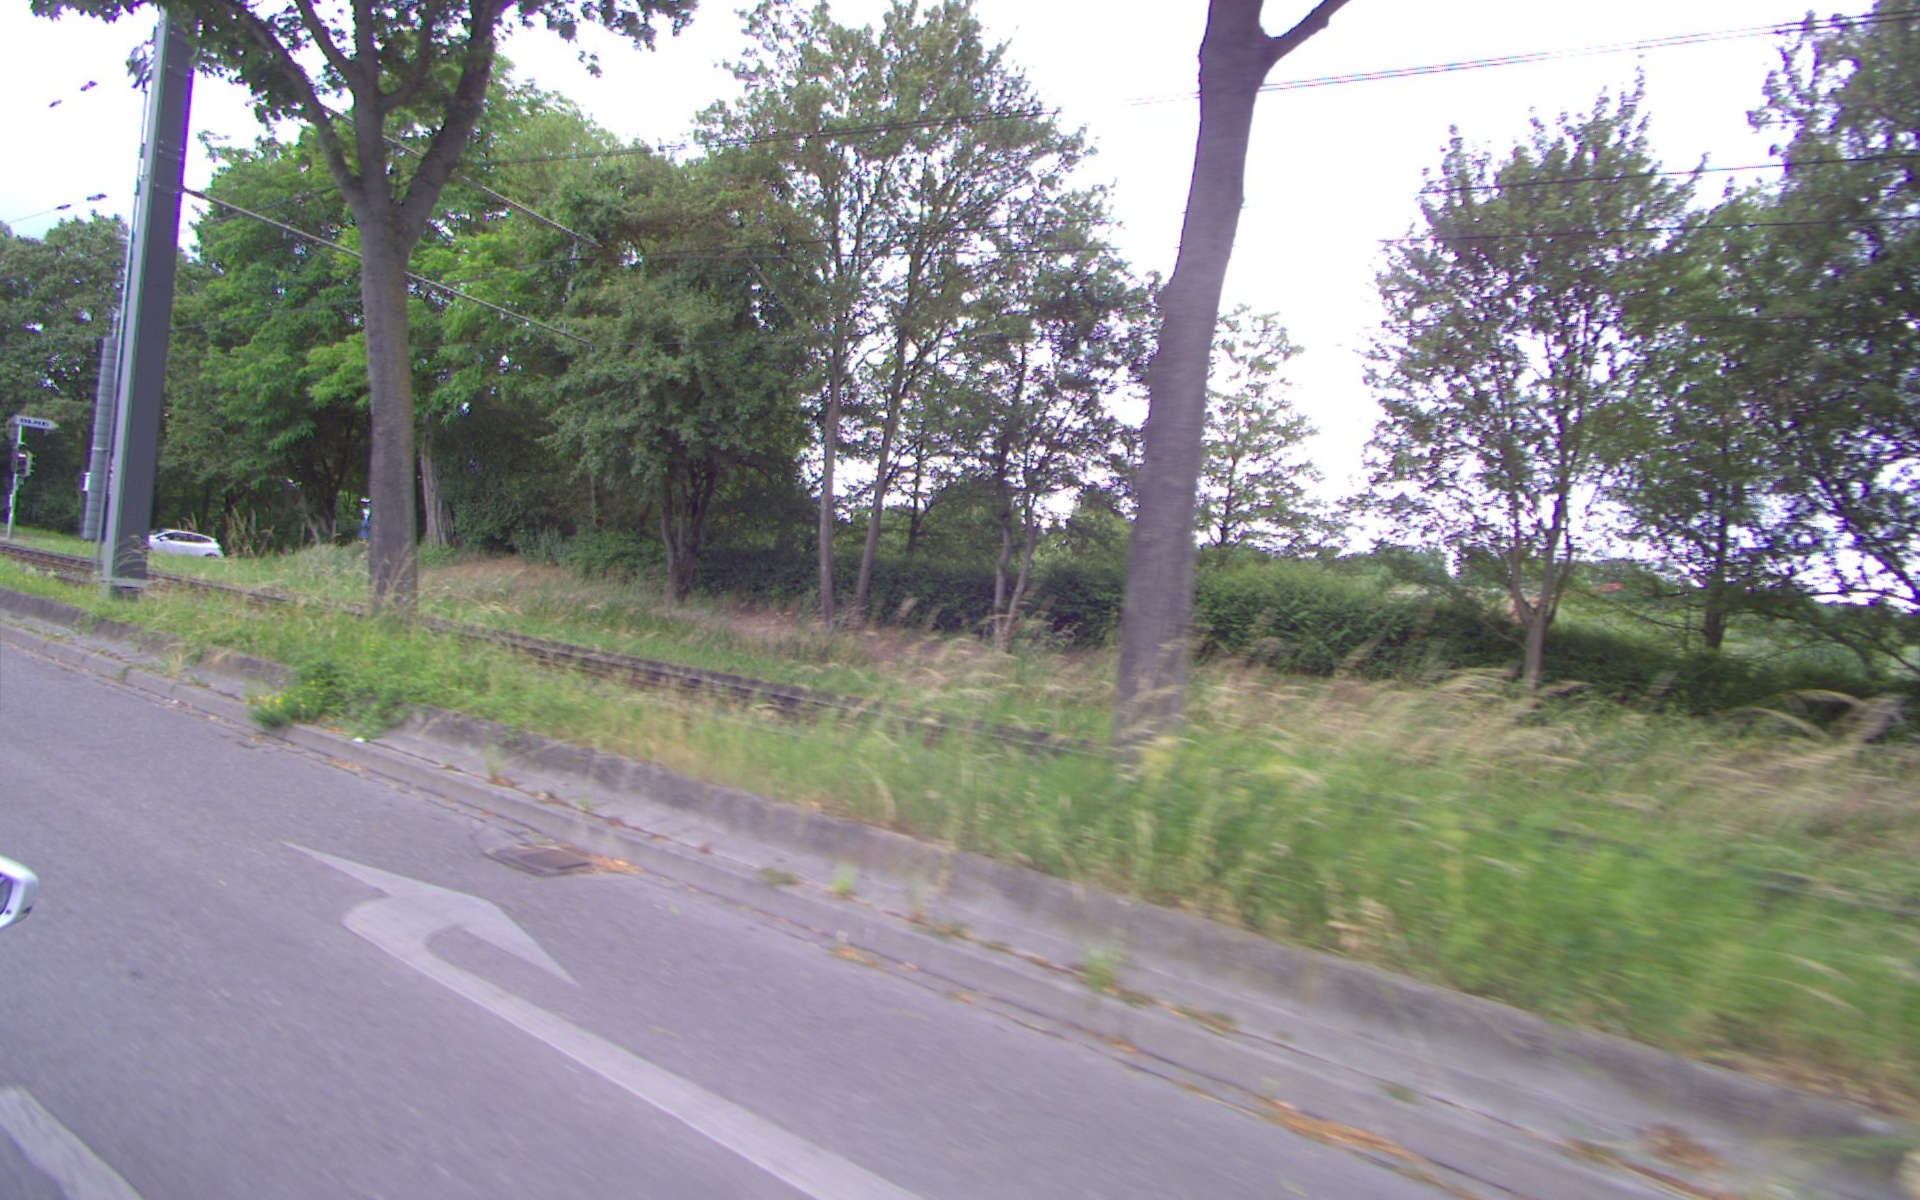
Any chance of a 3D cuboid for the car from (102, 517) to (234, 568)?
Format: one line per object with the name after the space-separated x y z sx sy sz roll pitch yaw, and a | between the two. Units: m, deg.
-34.933 -2.516 44.477 1.965 1.368 4.005 7 -5 26 | car
